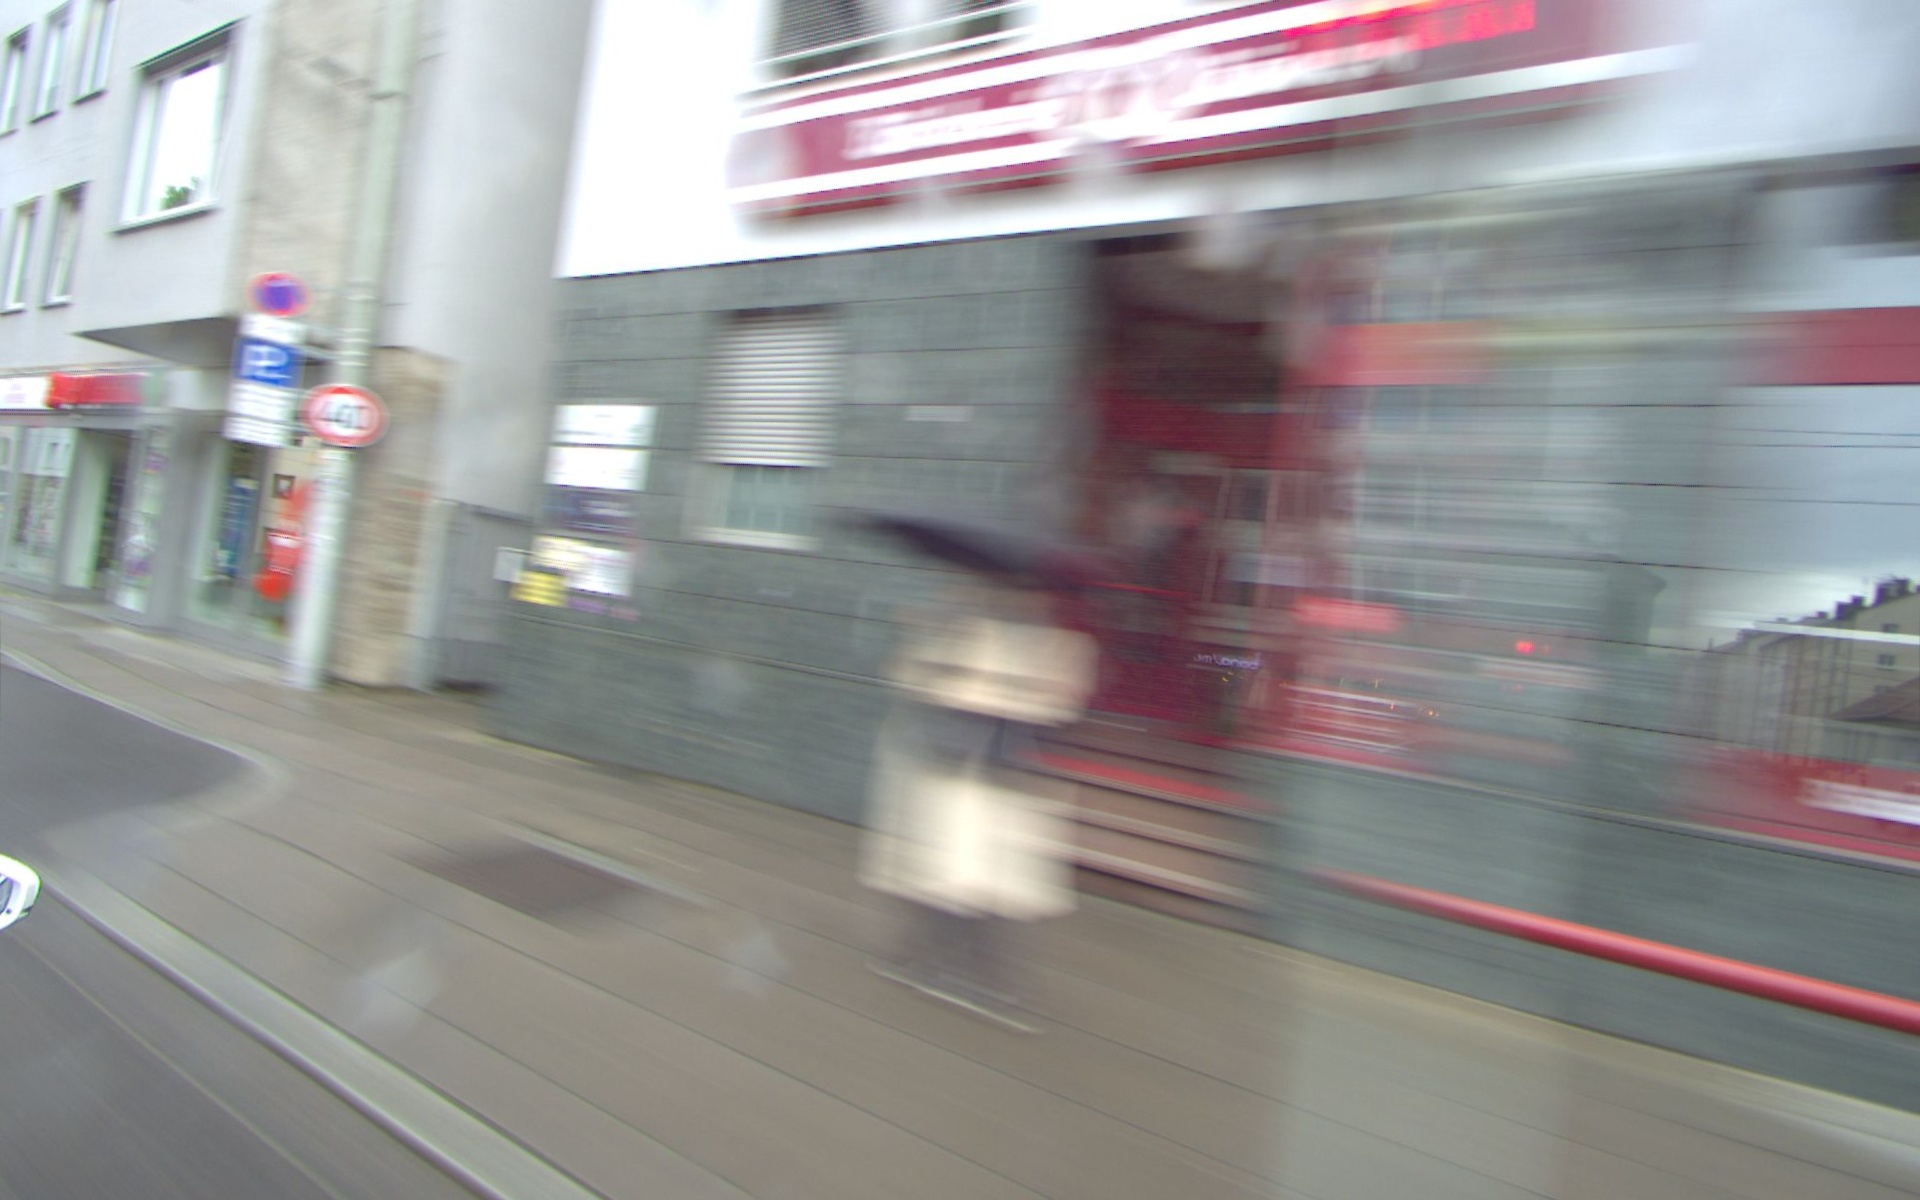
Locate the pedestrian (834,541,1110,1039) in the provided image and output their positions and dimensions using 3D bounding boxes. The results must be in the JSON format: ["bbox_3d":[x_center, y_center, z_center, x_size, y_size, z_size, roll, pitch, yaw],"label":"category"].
[{"bbox_3d":[0.082,0.654,3.777,0.764,1.600,0.662,6,-1,10],"label":"pedestrian"}]
